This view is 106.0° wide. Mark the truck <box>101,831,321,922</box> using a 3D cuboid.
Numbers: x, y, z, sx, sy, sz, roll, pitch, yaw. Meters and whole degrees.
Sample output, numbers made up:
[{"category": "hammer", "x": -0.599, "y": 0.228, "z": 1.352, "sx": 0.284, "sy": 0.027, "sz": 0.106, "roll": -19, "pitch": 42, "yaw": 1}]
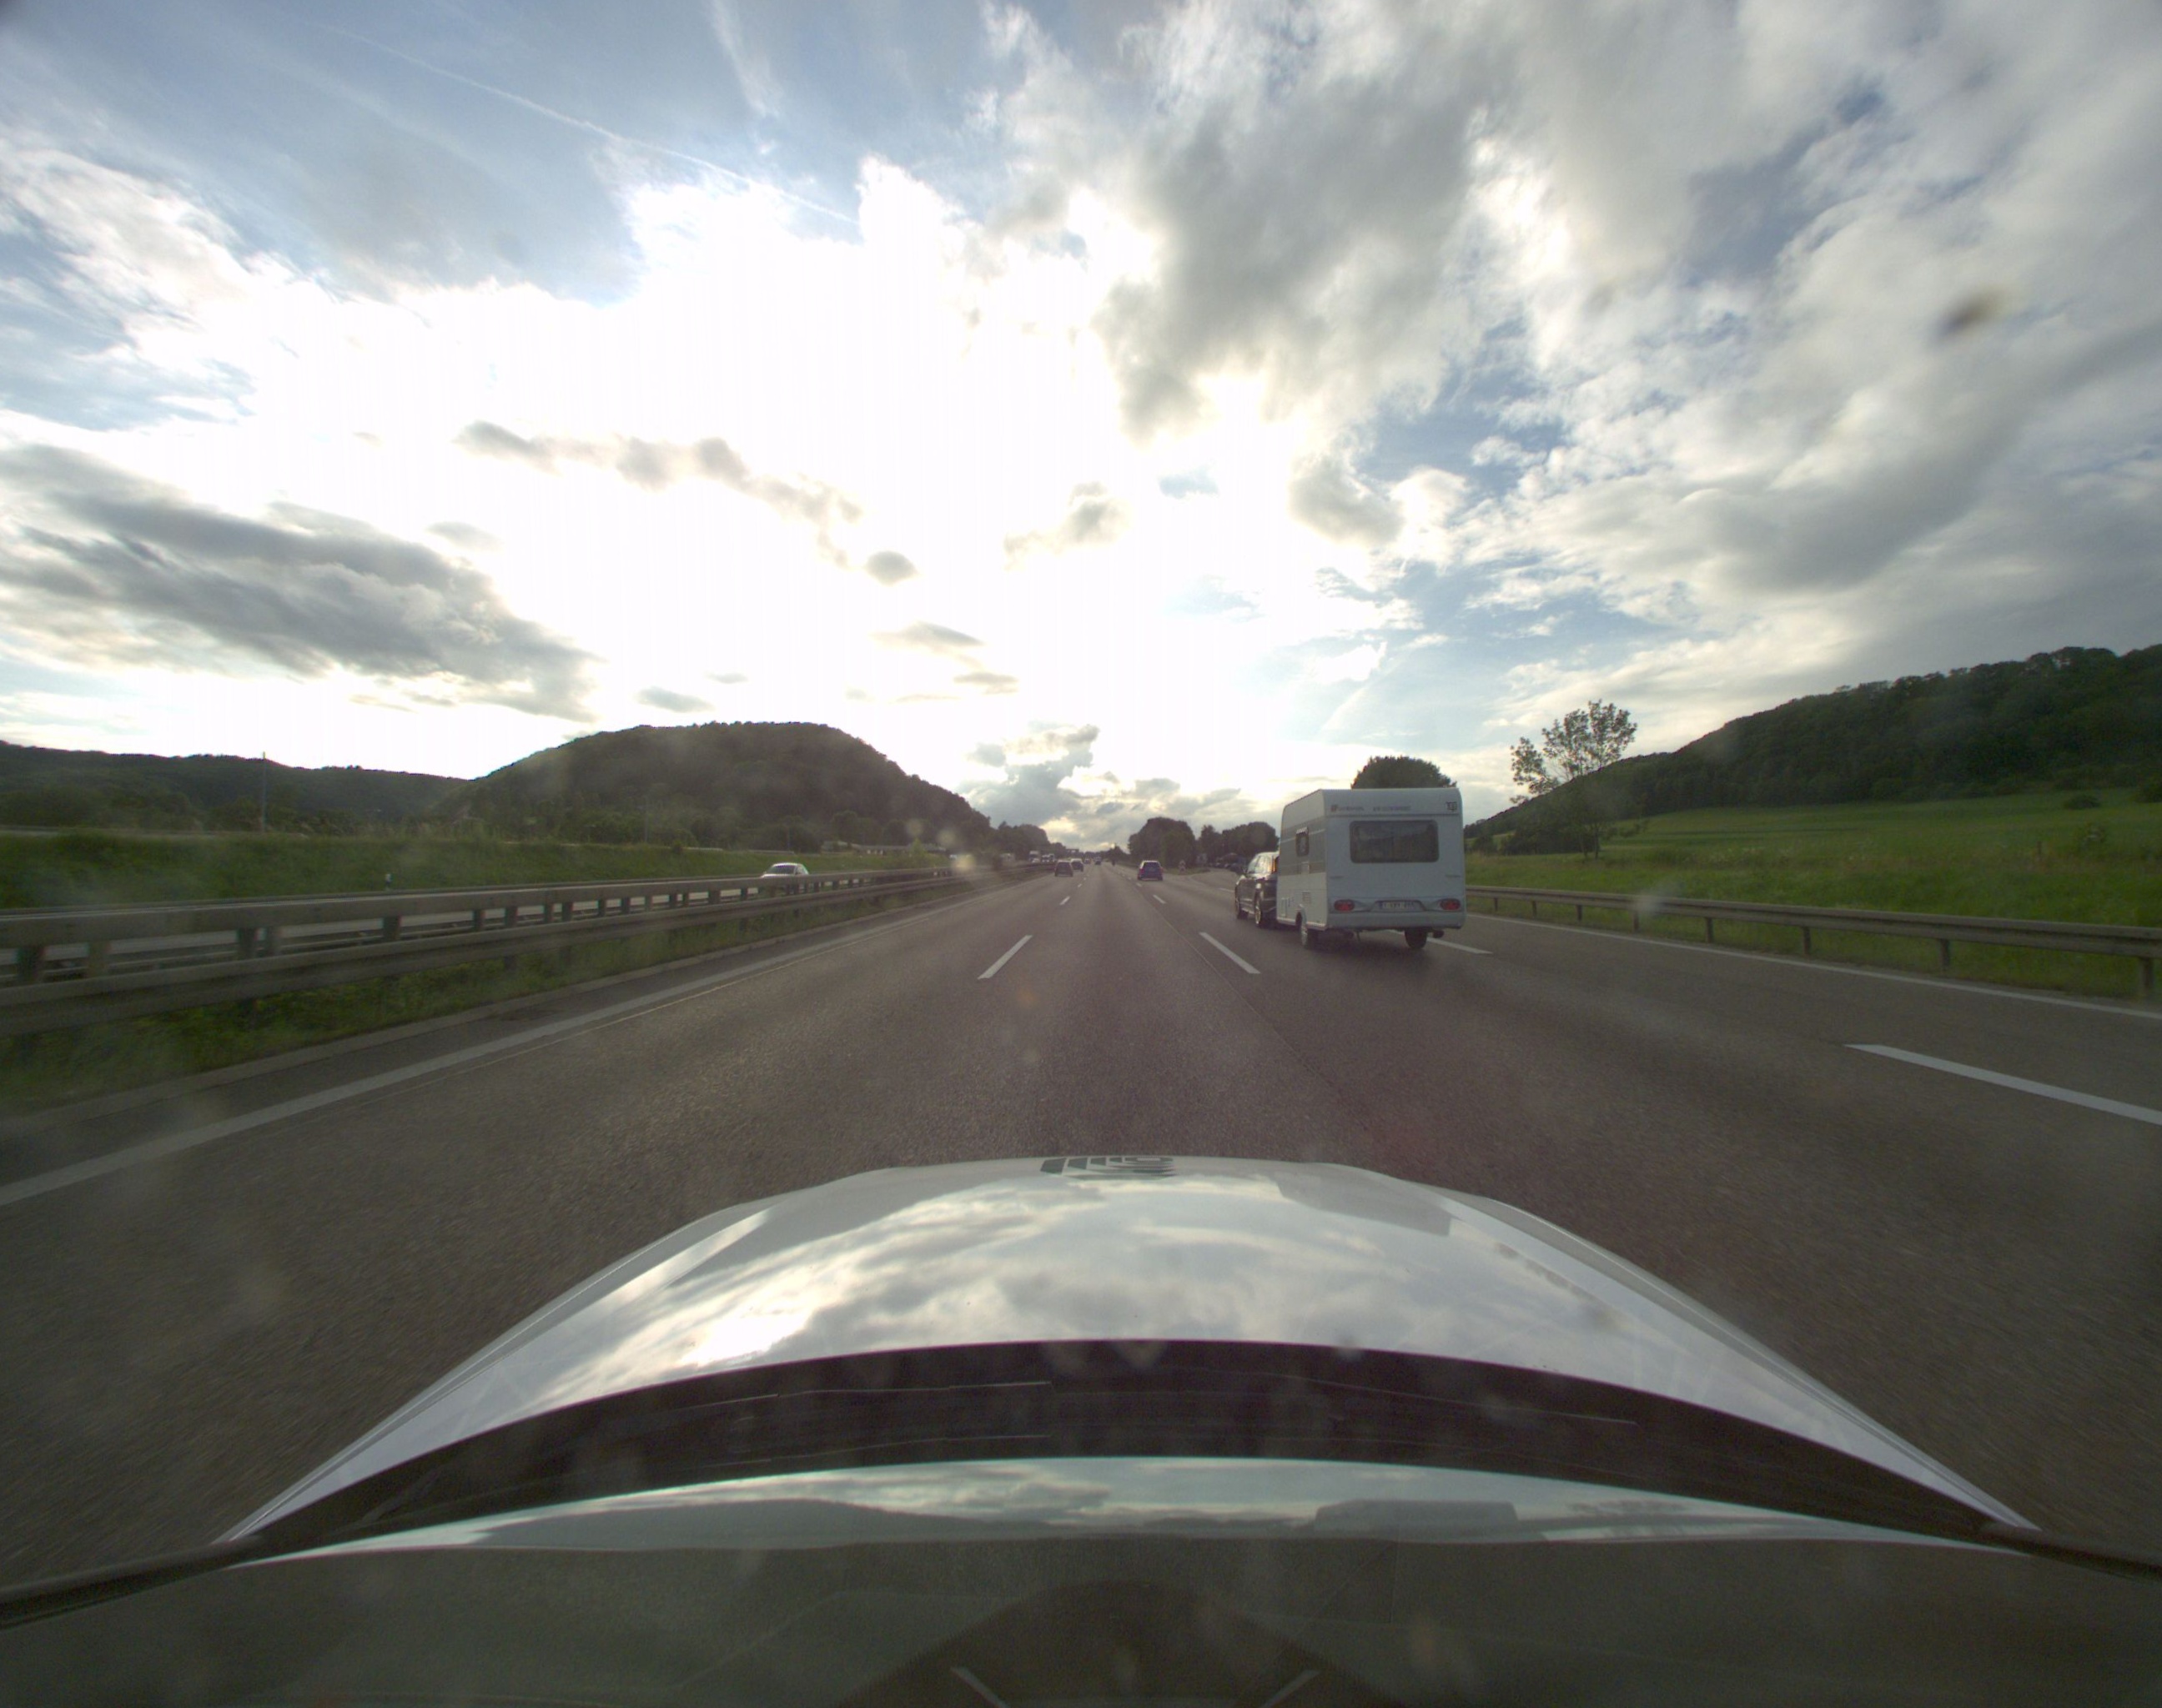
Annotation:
[{"category": "truck", "x": -39.631, "y": 0.972, "z": 37.505, "sx": 2.871, "sy": 3.690, "sz": 6.593, "roll": -2, "pitch": 0, "yaw": 1}]

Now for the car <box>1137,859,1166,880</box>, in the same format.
[{"category": "car", "x": 5.144, "y": 1.126, "z": 60.032, "sx": 1.761, "sy": 1.433, "sz": 4.000, "roll": -2, "pitch": 0, "yaw": 0}]

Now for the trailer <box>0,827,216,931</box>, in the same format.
[{"category": "trailer", "x": -39.825, "y": 0.940, "z": 30.762, "sx": 2.866, "sy": 3.696, "sz": 10.377, "roll": -2, "pitch": 0, "yaw": 2}]

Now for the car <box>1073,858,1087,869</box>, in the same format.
[{"category": "car", "x": -0.083, "y": 1.285, "z": 111.698, "sx": 1.558, "sy": 1.380, "sz": 4.004, "roll": -2, "pitch": 0, "yaw": 4}]

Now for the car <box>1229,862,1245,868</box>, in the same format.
[{"category": "car", "x": 41.250, "y": 2.988, "z": 215.254, "sx": 4.331, "sy": 1.556, "sz": 1.967, "roll": 0, "pitch": -2, "yaw": -40}]

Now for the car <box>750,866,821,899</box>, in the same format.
[{"category": "car", "x": -14.568, "y": 1.366, "z": 40.366, "sx": 1.944, "sy": 1.448, "sz": 3.874, "roll": -2, "pitch": 0, "yaw": 1}]

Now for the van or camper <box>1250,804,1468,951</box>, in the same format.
[{"category": "van or camper", "x": 4.806, "y": 0.402, "z": 15.165, "sx": 2.537, "sy": 2.239, "sz": 5.333, "roll": 0, "pitch": -1, "yaw": 3}]

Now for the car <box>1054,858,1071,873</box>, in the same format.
[{"category": "car", "x": -1.729, "y": 1.085, "z": 77.319, "sx": 1.533, "sy": 1.348, "sz": 3.675, "roll": 0, "pitch": 0, "yaw": -1}]

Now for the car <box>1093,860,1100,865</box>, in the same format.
[{"category": "car", "x": 4.457, "y": 2.489, "z": 235.741, "sx": 1.747, "sy": 1.222, "sz": 3.995, "roll": -2, "pitch": 0, "yaw": -3}]

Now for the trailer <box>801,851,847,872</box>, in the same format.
[{"category": "trailer", "x": -37.454, "y": 1.222, "z": 119.123, "sx": 2.569, "sy": 2.854, "sz": 11.385, "roll": -1, "pitch": -2, "yaw": 2}]

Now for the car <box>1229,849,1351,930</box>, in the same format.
[{"category": "car", "x": 4.733, "y": 0.734, "z": 19.111, "sx": 1.780, "sy": 1.652, "sz": 4.482, "roll": -1, "pitch": 0, "yaw": 1}]
